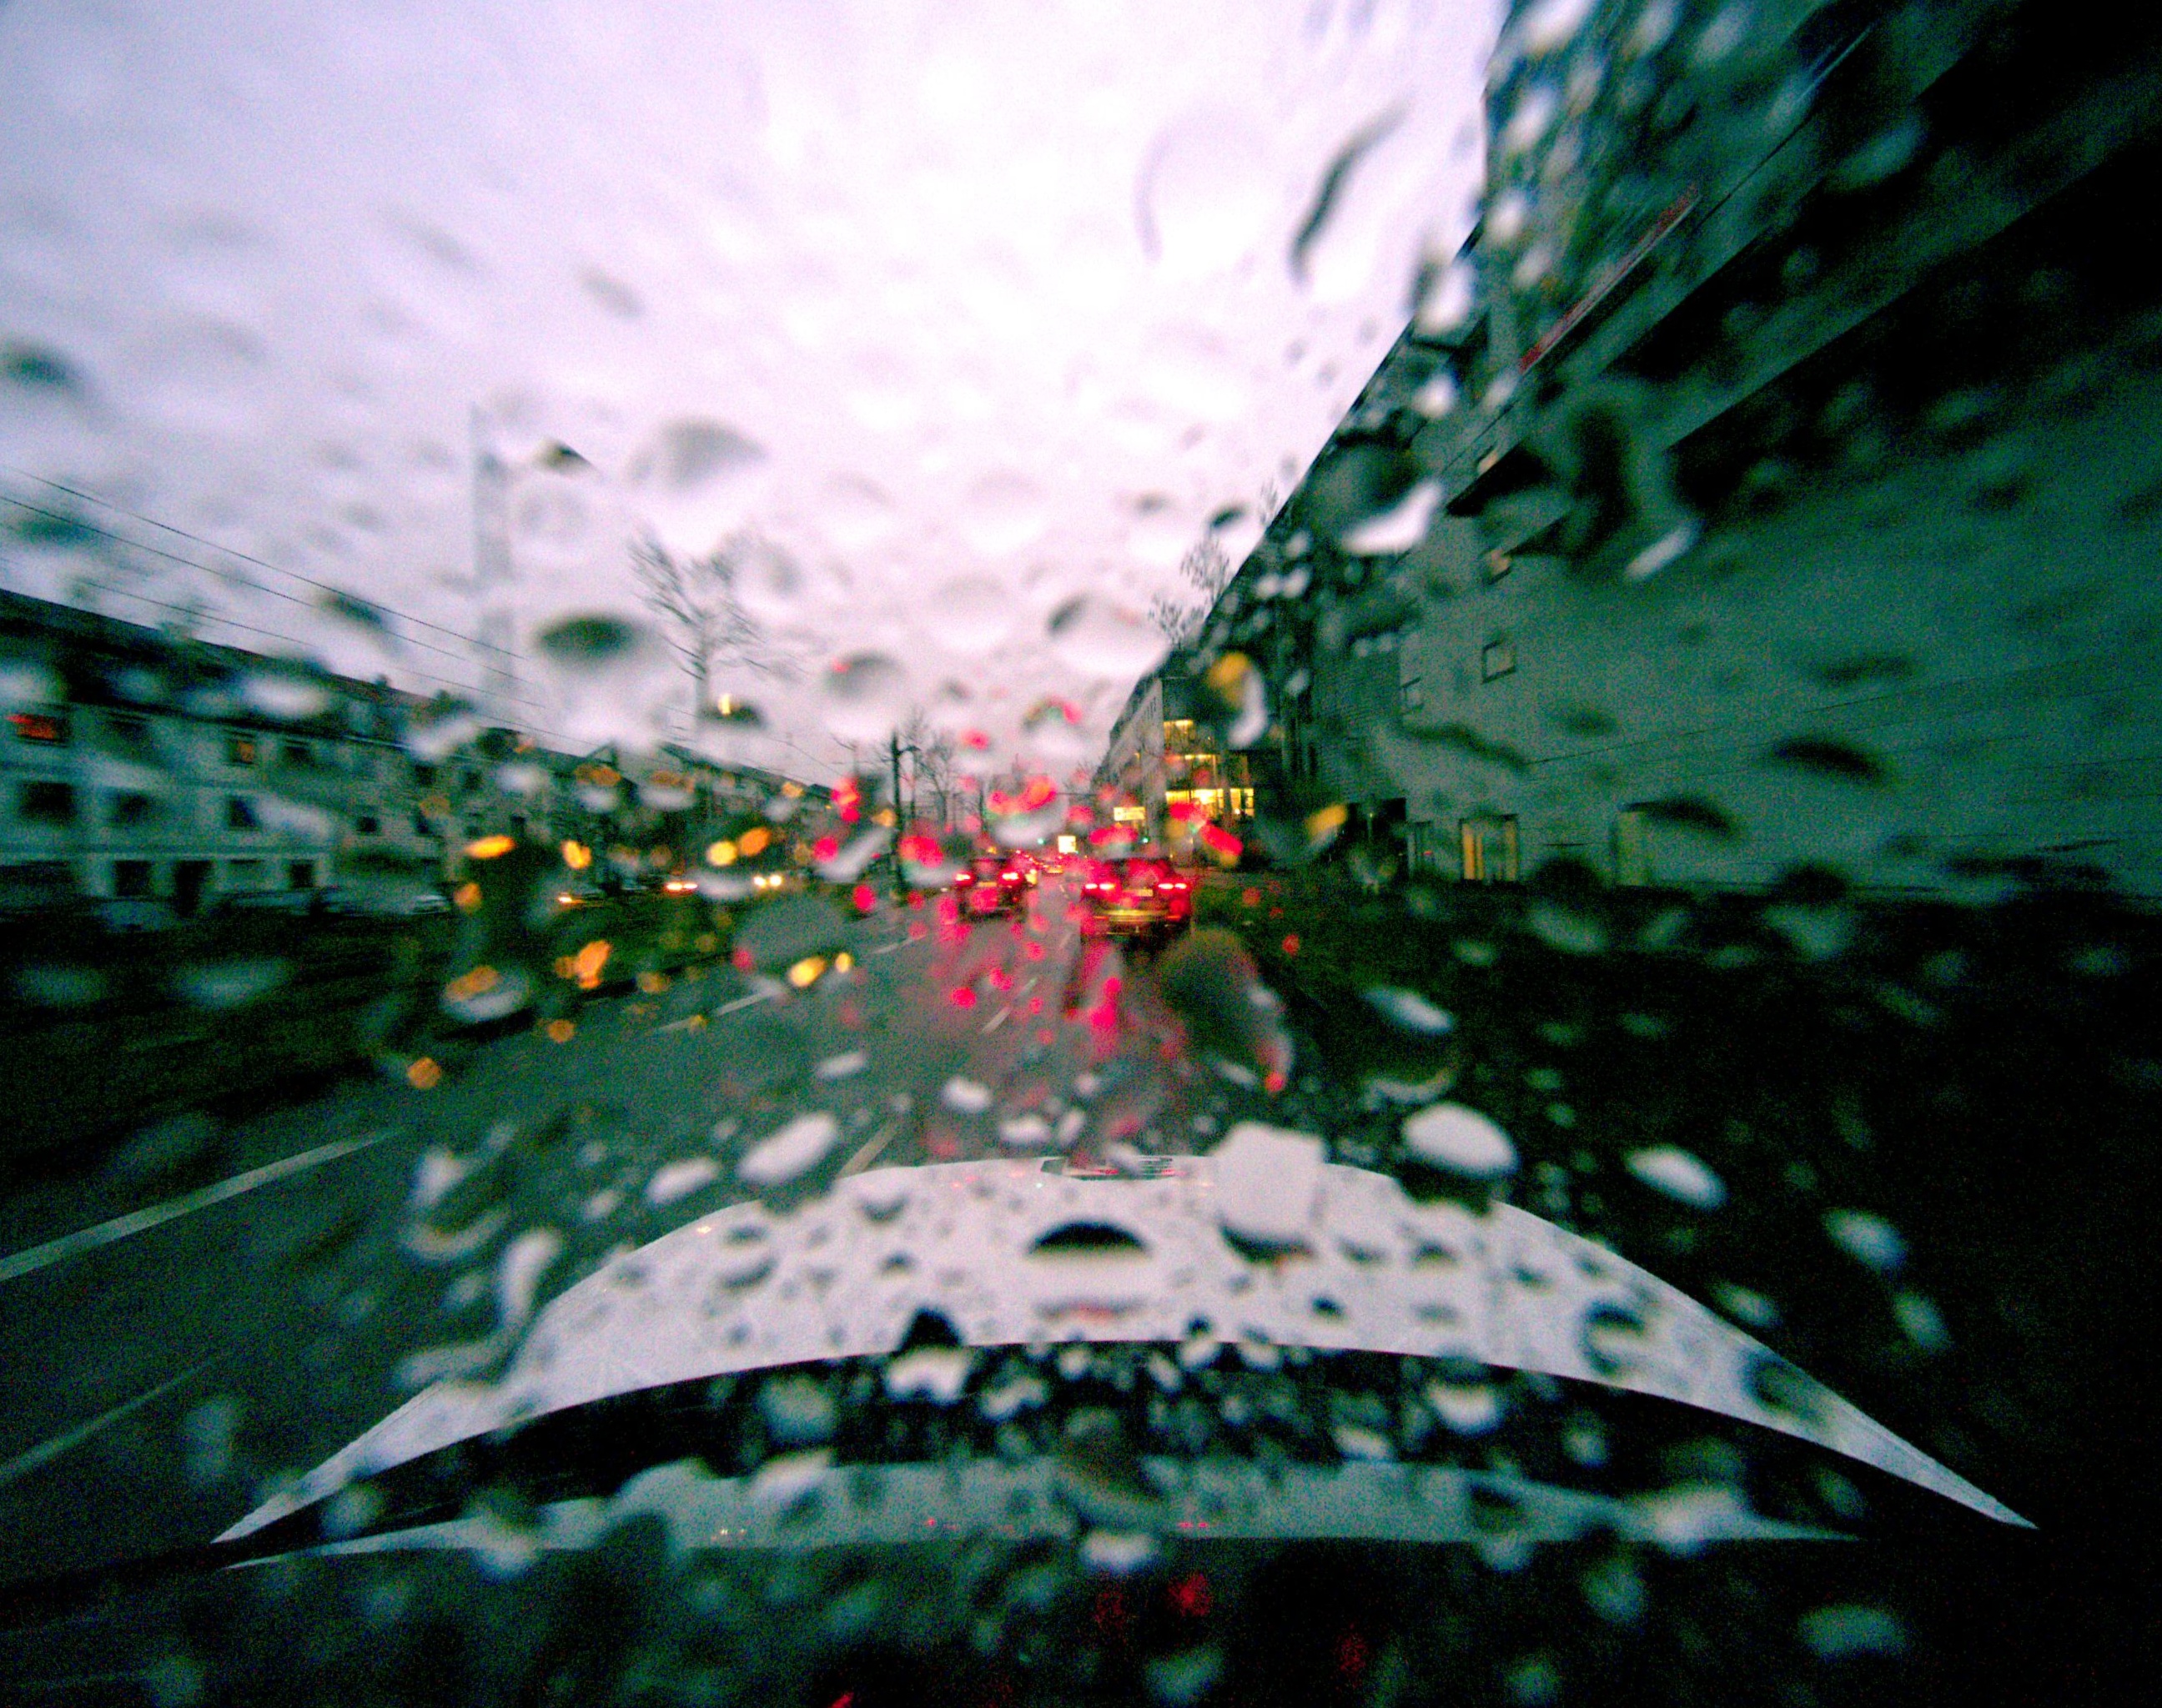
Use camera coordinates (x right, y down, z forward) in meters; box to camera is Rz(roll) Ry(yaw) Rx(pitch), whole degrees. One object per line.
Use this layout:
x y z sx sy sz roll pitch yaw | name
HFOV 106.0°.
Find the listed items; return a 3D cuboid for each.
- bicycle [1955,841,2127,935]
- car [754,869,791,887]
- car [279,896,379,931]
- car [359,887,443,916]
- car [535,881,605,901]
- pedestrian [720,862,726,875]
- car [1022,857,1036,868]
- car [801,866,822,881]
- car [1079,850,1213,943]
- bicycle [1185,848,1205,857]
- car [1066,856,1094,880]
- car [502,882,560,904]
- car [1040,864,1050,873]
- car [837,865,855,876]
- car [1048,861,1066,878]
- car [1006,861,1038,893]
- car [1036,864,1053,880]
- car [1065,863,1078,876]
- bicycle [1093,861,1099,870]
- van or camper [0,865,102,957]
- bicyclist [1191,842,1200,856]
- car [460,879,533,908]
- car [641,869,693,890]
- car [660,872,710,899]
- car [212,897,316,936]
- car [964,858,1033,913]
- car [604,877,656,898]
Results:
11.957 0.409 10.151 1.806 1.052 0.396 -3 0 -5 | bicycle
-28.591 2.218 75.717 1.876 1.502 4.783 0 0 -4 | car
-29.892 2.324 32.375 3.495 1.200 1.894 -1 0 28 | car
-29.944 2.062 35.849 3.375 1.147 1.702 -1 0 28 | car
-30.686 2.186 48.862 4.136 1.116 1.691 -1 0 28 | car
-33.970 1.359 77.229 0.348 1.184 0.429 0 -1 -44 | pedestrian
-8.286 1.361 129.455 1.988 1.715 3.421 0 0 -1 | car
-36.346 2.593 109.955 1.991 2.014 3.991 0 0 -7 | car
1.057 0.696 14.989 1.989 1.483 3.695 0 -1 -3 | car
10.504 -0.129 74.835 1.712 0.745 0.655 -1 0 30 | bicycle
-0.060 0.912 55.265 1.861 1.543 3.610 0 0 0 | car
-30.722 2.171 45.494 3.006 1.147 1.405 -1 0 28 | car
-5.304 2.188 121.439 1.376 1.248 2.757 0 0 0 | car
-36.275 2.543 125.806 1.930 1.597 3.719 0 0 -6 | car
-2.191 1.364 74.793 1.619 1.498 3.523 0 0 -2 | car
-3.153 1.197 44.004 1.686 1.635 3.470 0 0 -3 | car
-3.605 1.778 80.576 1.611 1.522 3.405 0 0 -3 | car
-1.235 2.006 104.531 1.610 1.571 3.351 0 0 0 | car
1.765 1.336 93.429 0.544 0.965 1.343 0 0 -5 | bicycle
-30.536 1.508 23.394 6.793 2.360 2.012 -1 0 31 | van or camper
10.551 -0.456 74.807 0.615 1.330 0.569 -1 -1 30 | bicyclist
-30.556 2.011 42.556 4.071 1.378 1.784 -1 0 34 | car
-31.673 1.936 62.352 3.750 1.555 1.753 -1 0 29 | car
-25.678 2.000 52.932 1.610 1.623 3.505 0 0 -3 | car
-29.980 2.242 29.867 3.495 1.212 1.758 -1 0 28 | car
-2.345 0.844 23.558 1.814 1.450 3.993 0 0 -5 | car
-31.147 2.299 56.211 3.719 1.337 1.462 -2 0 33 | car
